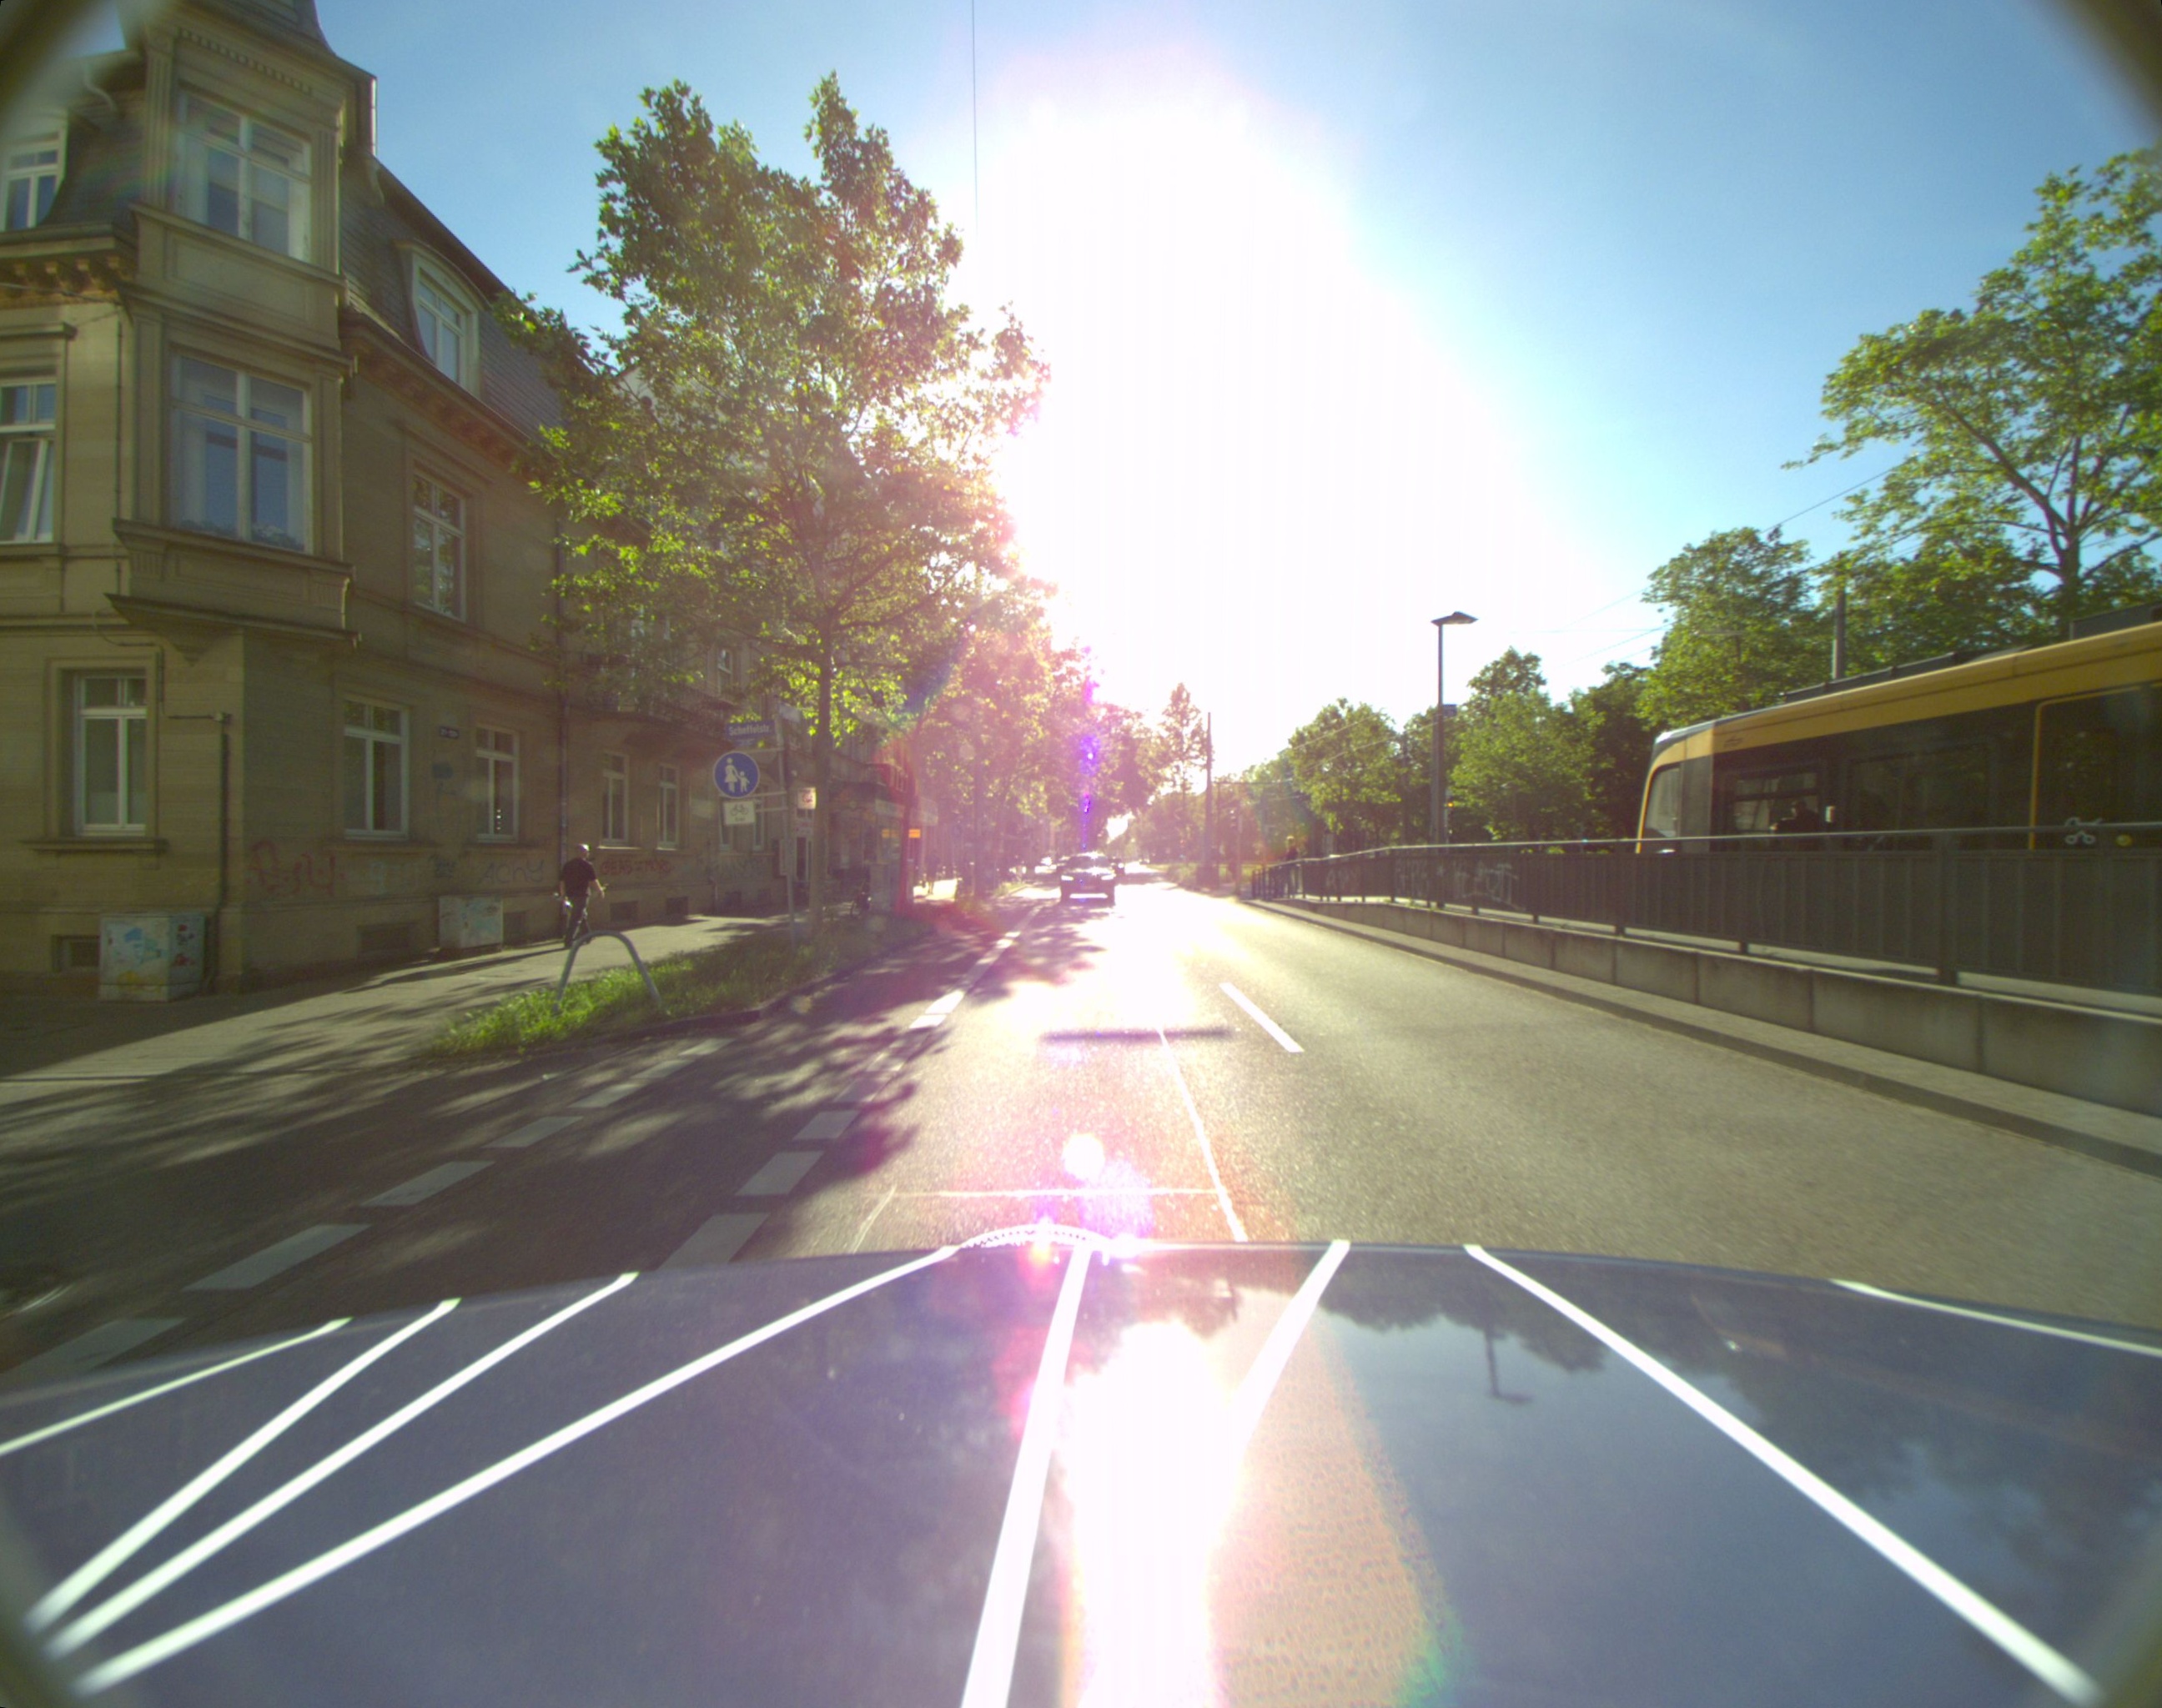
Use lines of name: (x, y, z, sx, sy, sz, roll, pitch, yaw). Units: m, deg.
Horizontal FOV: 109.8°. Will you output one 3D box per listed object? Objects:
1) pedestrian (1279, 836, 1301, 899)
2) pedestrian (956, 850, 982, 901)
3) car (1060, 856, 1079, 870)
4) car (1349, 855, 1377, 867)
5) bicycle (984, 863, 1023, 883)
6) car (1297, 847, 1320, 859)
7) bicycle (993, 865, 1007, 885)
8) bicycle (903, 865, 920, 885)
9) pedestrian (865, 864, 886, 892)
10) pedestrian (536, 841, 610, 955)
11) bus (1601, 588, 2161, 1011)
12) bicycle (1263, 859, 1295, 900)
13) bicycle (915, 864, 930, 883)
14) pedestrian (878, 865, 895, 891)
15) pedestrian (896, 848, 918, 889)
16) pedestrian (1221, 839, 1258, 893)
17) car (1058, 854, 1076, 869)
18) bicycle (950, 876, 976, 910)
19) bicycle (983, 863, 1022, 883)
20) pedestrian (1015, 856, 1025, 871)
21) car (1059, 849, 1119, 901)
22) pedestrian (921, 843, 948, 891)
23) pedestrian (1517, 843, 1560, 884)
pedestrian: (6.345, 0.409, 23.103, 0.452, 1.892, 0.584, -1, 1, -7)
pedestrian: (-3.893, 0.745, 26.511, 0.643, 1.761, 0.869, -2, 0, 7)
car: (-1.288, 1.019, 85.267, 1.810, 1.481, 4.920, -2, 0, 2)
car: (31.373, 0.815, 84.709, 1.773, 1.304, 3.781, -2, -1, 1)
bicycle: (-4.178, 1.012, 41.088, 2.009, 0.987, 0.444, -2, 0, -1)
car: (32.091, -0.112, 107.261, 1.999, 1.612, 4.000, -2, -1, -2)
bicycle: (-3.979, 1.028, 37.355, 0.444, 0.987, 1.687, -2, -1, -13)
bicycle: (-8.649, 1.069, 38.849, 0.444, 0.987, 1.689, -2, -1, 0)
pedestrian: (-8.724, 1.018, 32.208, 0.654, 1.154, 0.672, -2, 0, -35)
pedestrian: (-8.462, 0.710, 12.702, 0.565, 1.816, 0.959, -2, 0, -2)
bus: (10.196, -0.445, 6.347, 2.876, 3.423, 13.218, 0, -1, 1)
bicycle: (6.026, 0.753, 23.184, 0.329, 1.207, 1.828, -1, 0, -5)
bicycle: (-8.635, 1.067, 41.544, 0.444, 0.987, 1.689, -2, -1, 0)
pedestrian: (-8.699, 1.059, 33.978, 0.648, 1.154, 0.610, -2, 0, -10)
pedestrian: (-7.844, 0.648, 34.271, 0.468, 1.799, 0.775, -2, 0, 32)
pedestrian: (5.692, 0.433, 27.380, 1.075, 1.905, 1.126, -1, 1, -1)
car: (-1.391, 0.794, 77.959, 1.705, 1.415, 4.517, -2, -1, 0)
bicycle: (-3.553, 1.164, 22.956, 0.429, 0.964, 1.751, -2, -1, 1)
bicycle: (-4.166, 1.026, 40.599, 2.019, 0.987, 0.444, -2, 0, -1)
pedestrian: (-7.075, 1.124, 88.258, 1.002, 1.750, 0.715, -2, 0, 1)
car: (0.272, 0.724, 27.316, 1.969, 1.663, 4.000, -2, -1, 0)
pedestrian: (-6.153, 0.545, 31.956, 0.884, 2.001, 0.857, -2, 0, 4)
pedestrian: (18.563, 0.396, 30.853, 1.180, 1.634, 0.892, 0, 1, -6)
